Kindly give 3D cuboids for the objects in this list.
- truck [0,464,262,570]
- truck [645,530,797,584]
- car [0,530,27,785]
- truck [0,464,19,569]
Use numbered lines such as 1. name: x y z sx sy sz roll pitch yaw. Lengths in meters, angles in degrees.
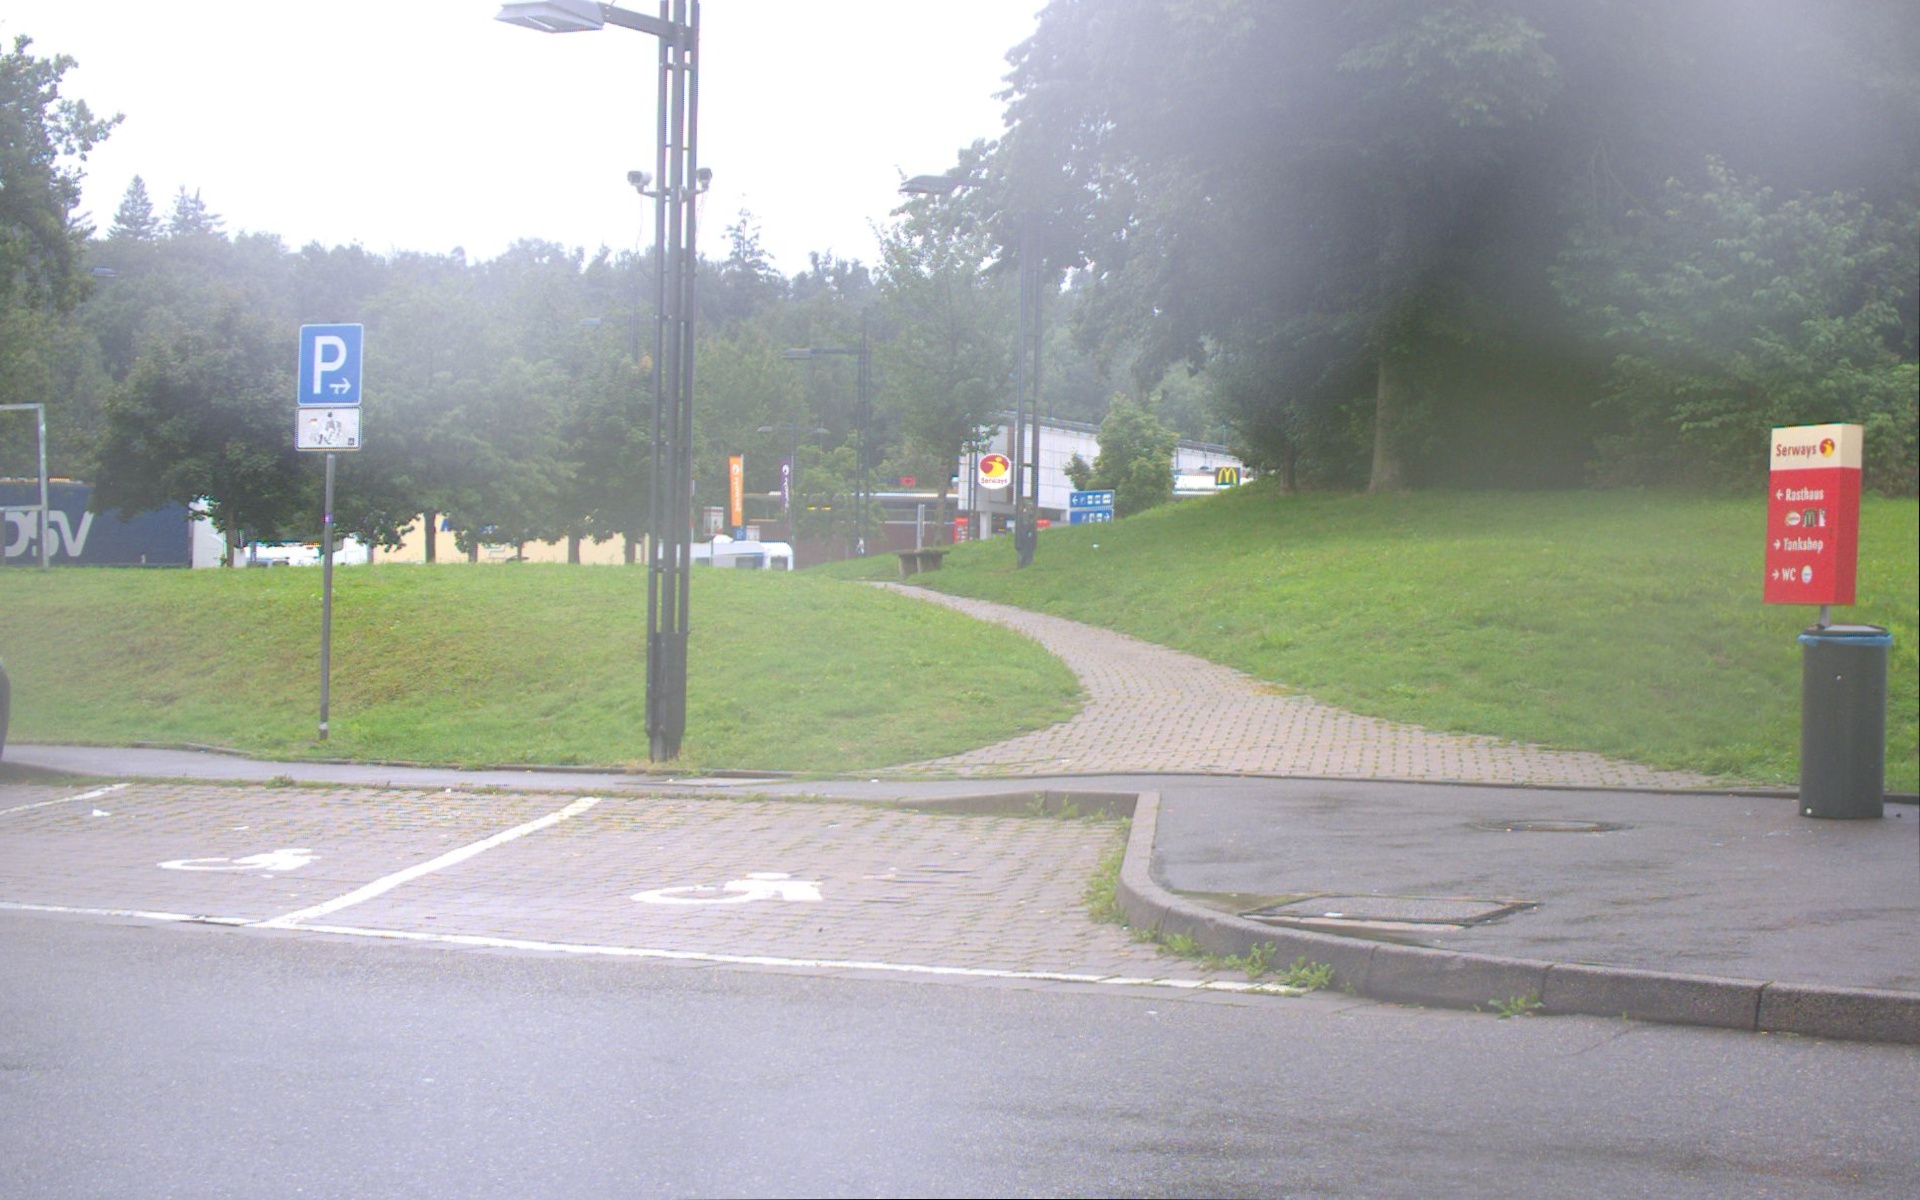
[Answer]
1. truck: -25.454 -2.372 101.650 2.188 2.910 13.082 1 1 24
2. truck: -9.313 -1.670 133.826 5.413 2.007 2.364 1 1 25
3. car: -7.801 0.451 21.511 2.018 1.705 4.341 -1 1 12
4. truck: -28.593 -2.346 94.681 2.189 2.910 5.380 1 1 24
